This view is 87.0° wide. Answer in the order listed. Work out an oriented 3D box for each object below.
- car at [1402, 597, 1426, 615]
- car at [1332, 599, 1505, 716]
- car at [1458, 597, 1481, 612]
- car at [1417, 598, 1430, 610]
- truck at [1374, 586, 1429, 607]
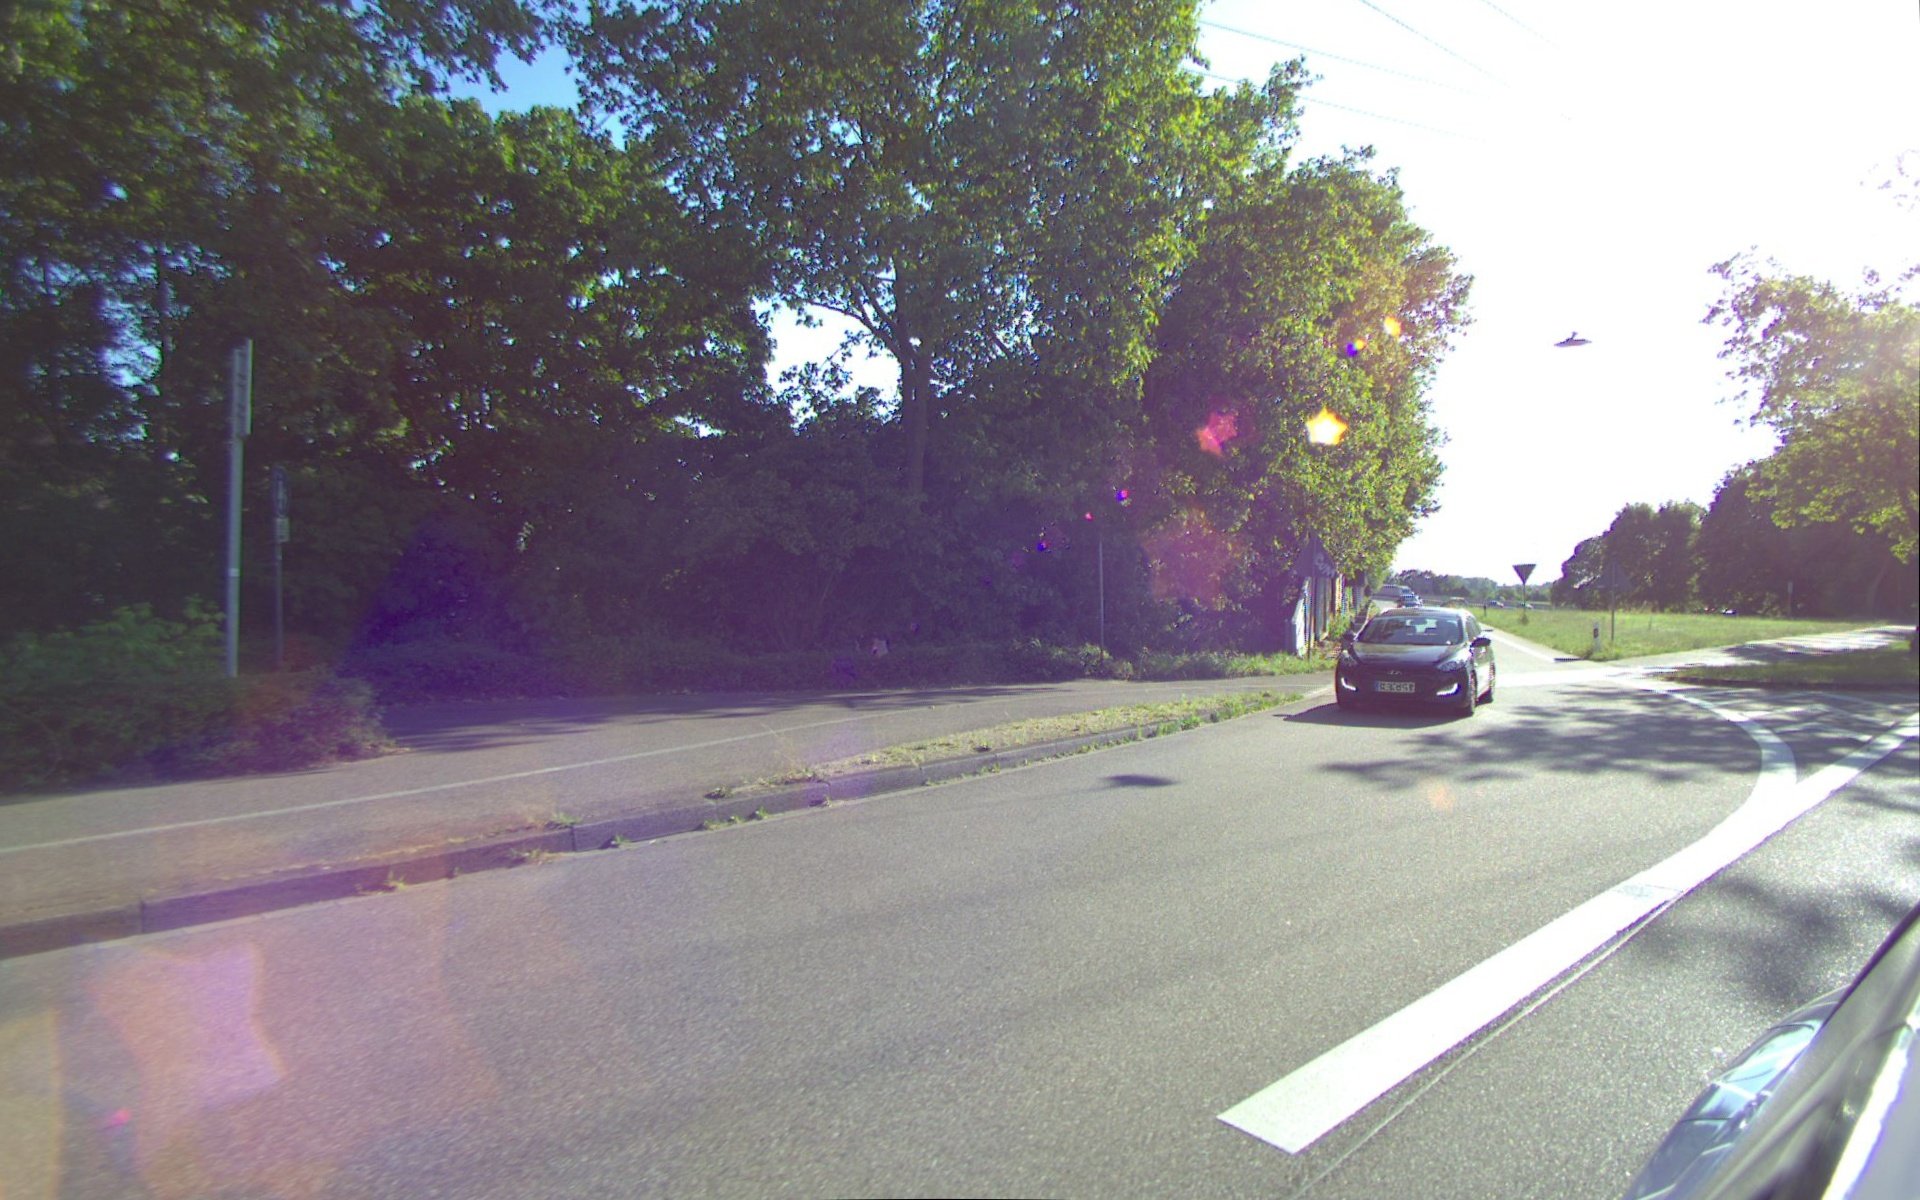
[{"bbox_3d":[37.575,0.461,83.774,1.779,1.458,4.190,0,0,24],"label":"car"},{"bbox_3d":[6.952,0.728,15.100,1.785,1.458,4.174,0,0,33],"label":"car"},{"bbox_3d":[52.746,0.433,104.901,1.673,1.435,4.107,0,0,20],"label":"car"},{"bbox_3d":[71.018,0.613,155.147,1.796,1.795,3.829,0,0,25],"label":"car"},{"bbox_3d":[94.580,-0.773,217.057,10.487,3.537,2.633,5,2,22],"label":"truck"}]
